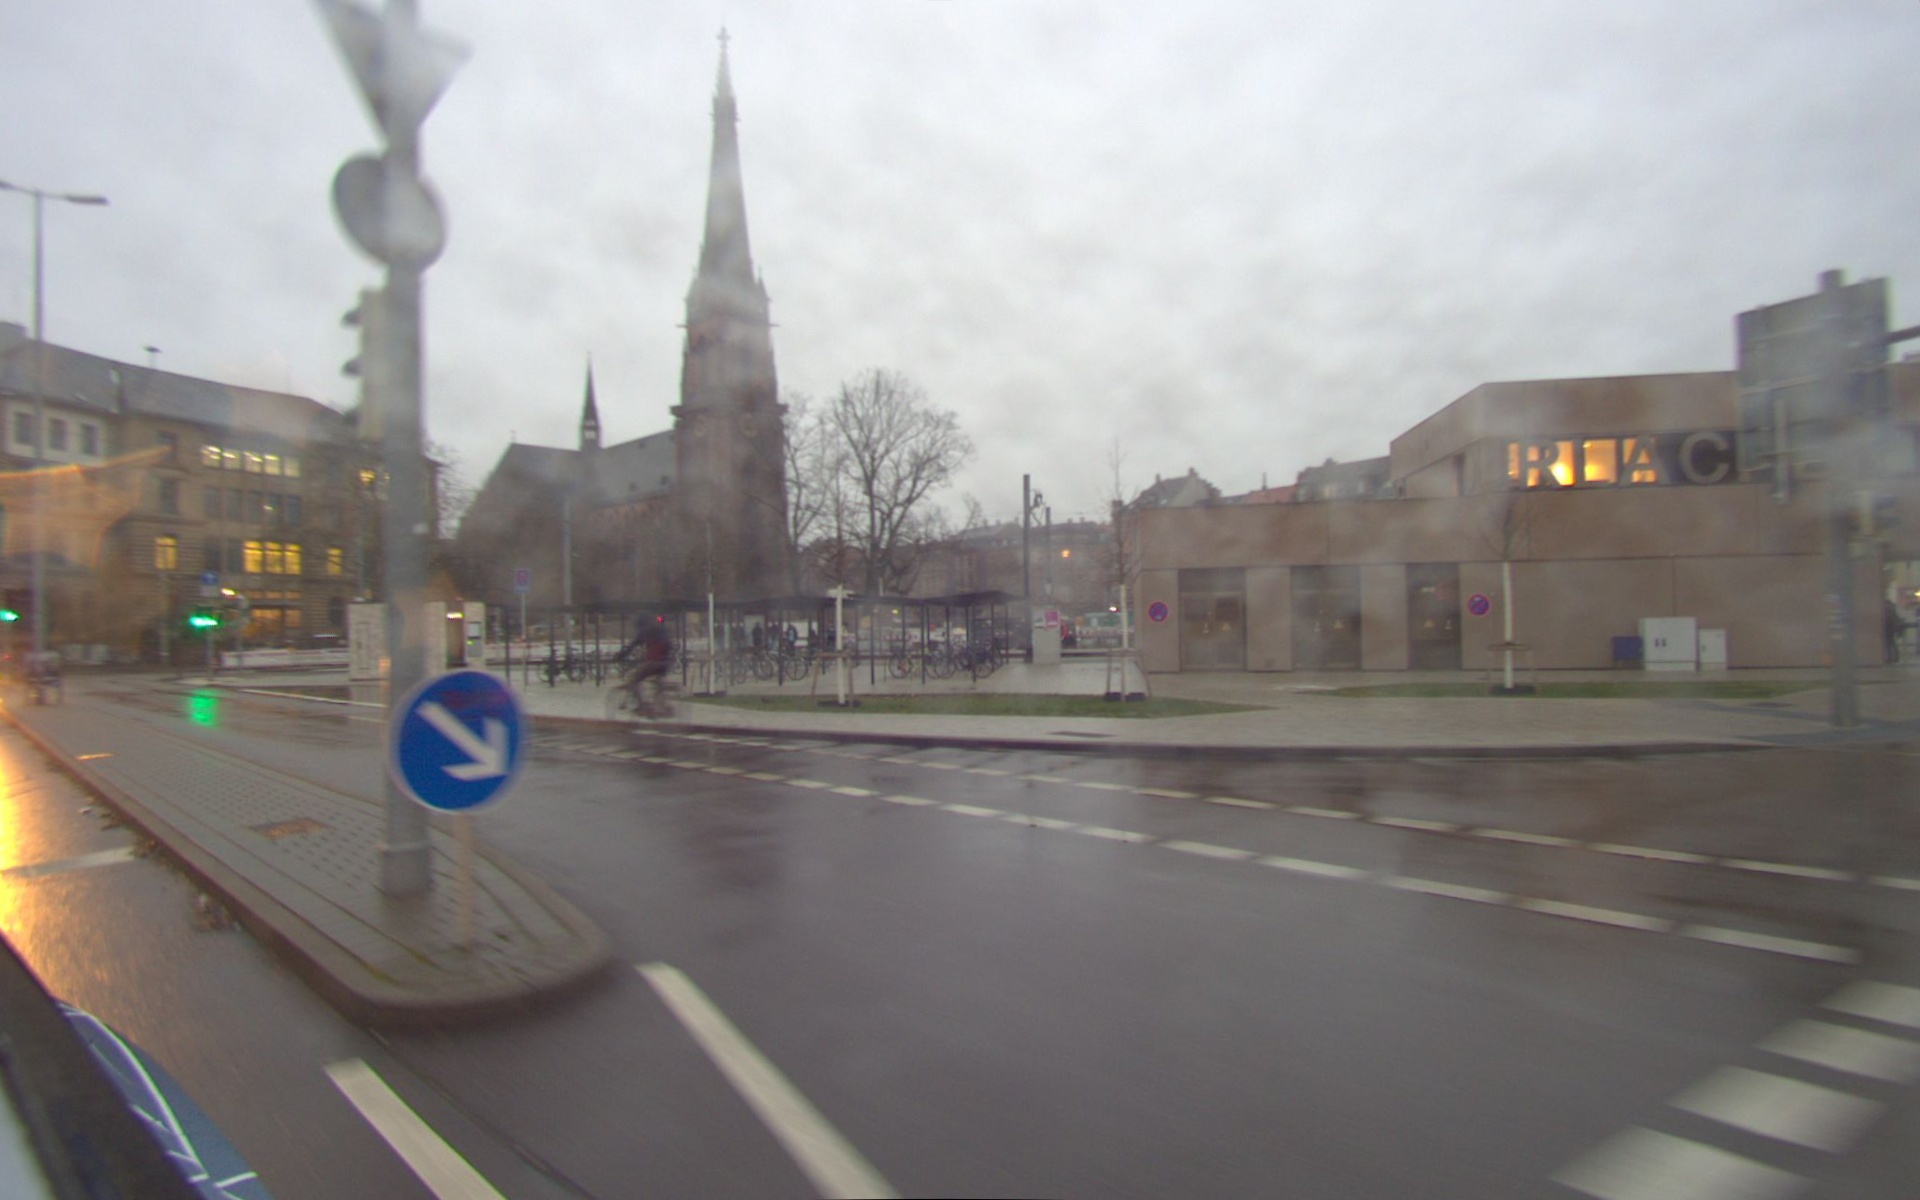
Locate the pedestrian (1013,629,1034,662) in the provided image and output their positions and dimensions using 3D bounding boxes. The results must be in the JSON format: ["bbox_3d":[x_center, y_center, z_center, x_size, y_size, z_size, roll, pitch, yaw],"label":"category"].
[{"bbox_3d":[3.648,2.588,58.118,0.809,1.844,0.934,-1,-1,44],"label":"pedestrian"}]

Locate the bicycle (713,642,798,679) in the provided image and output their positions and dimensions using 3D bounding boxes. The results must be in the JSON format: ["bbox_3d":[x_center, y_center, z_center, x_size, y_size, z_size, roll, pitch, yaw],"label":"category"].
[{"bbox_3d":[-6.849,2.026,33.912,2.715,1.113,0.646,-2,0,4],"label":"bicycle"}]

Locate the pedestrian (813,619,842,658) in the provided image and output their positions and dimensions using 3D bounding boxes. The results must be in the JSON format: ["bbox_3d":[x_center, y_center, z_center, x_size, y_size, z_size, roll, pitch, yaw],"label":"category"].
[{"bbox_3d":[-6.553,1.918,50.121,0.848,1.864,1.021,-3,0,44],"label":"pedestrian"}]

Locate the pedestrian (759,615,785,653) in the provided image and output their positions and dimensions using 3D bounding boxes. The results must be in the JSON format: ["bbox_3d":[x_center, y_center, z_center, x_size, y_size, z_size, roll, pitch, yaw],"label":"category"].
[{"bbox_3d":[-9.423,1.712,50.754,0.803,1.864,1.020,-4,-3,44],"label":"pedestrian"}]

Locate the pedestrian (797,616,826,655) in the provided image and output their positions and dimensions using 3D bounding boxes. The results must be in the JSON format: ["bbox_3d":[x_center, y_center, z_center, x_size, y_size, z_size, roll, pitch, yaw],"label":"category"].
[{"bbox_3d":[-7.450,1.785,50.771,0.848,1.864,1.021,-3,0,43],"label":"pedestrian"}]

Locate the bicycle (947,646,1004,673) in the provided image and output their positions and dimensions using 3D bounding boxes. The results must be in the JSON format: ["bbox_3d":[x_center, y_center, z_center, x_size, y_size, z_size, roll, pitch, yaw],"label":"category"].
[{"bbox_3d":[0.523,1.997,33.933,1.843,0.878,0.605,-2,-2,9],"label":"bicycle"}]

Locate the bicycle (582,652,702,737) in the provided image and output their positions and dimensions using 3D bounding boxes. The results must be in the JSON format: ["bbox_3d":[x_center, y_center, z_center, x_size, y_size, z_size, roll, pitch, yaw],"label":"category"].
[{"bbox_3d":[-4.698,1.362,14.909,1.867,1.185,0.617,-2,-4,32],"label":"bicycle"}]

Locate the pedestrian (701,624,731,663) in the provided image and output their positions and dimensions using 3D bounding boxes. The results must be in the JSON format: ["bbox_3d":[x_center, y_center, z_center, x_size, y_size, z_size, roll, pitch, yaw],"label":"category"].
[{"bbox_3d":[-12.295,2.172,50.933,0.848,1.863,1.035,-4,1,44],"label":"pedestrian"}]

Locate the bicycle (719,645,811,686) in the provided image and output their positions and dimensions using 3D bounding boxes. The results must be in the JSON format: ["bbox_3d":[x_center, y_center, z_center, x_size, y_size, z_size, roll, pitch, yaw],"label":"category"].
[{"bbox_3d":[-6.043,2.018,31.370,2.723,1.113,0.644,-3,0,13],"label":"bicycle"}]

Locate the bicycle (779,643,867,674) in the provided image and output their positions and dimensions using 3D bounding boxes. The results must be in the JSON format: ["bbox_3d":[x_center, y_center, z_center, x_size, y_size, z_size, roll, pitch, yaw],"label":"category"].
[{"bbox_3d":[-5.073,2.178,37.503,3.157,1.058,0.793,-2,-2,9],"label":"bicycle"}]

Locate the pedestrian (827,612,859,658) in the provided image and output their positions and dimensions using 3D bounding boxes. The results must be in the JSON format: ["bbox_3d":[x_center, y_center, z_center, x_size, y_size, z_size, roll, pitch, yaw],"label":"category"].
[{"bbox_3d":[-4.500,1.335,39.025,0.848,1.693,0.805,0,4,44],"label":"pedestrian"}]

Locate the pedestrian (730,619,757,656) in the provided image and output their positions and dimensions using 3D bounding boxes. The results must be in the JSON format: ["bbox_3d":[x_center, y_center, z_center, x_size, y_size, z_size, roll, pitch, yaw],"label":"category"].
[{"bbox_3d":[-11.061,1.921,51.738,0.848,1.864,1.020,-3,-3,44],"label":"pedestrian"}]

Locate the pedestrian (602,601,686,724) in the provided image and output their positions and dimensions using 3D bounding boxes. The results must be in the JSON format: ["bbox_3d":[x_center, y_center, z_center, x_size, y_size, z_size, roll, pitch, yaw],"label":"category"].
[{"bbox_3d":[-4.655,0.911,14.919,0.979,1.747,0.709,-3,-4,32],"label":"pedestrian"}]

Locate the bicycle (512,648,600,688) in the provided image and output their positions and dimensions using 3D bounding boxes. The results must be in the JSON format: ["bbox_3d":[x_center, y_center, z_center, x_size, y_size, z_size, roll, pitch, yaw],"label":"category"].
[{"bbox_3d":[-13.074,2.203,32.756,2.723,1.113,0.644,-3,0,13],"label":"bicycle"}]

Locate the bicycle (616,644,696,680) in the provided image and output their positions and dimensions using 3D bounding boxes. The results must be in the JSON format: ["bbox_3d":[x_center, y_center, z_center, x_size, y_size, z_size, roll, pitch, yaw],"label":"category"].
[{"bbox_3d":[-10.857,2.207,36.161,2.723,1.113,0.644,-3,0,13],"label":"bicycle"}]

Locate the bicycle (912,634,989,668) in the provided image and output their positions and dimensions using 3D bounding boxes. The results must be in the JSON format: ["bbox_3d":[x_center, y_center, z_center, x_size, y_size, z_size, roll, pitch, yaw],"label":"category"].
[{"bbox_3d":[-0.347,1.872,37.095,2.723,1.113,0.644,-3,0,13],"label":"bicycle"}]

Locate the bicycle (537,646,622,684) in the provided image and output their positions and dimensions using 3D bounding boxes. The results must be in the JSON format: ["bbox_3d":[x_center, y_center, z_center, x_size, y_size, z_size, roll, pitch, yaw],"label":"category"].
[{"bbox_3d":[-12.746,2.184,33.897,2.723,1.113,0.644,-3,0,13],"label":"bicycle"}]

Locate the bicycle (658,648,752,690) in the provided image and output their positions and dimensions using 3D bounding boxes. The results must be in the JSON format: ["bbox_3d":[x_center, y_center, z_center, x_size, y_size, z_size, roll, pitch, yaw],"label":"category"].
[{"bbox_3d":[-7.669,2.083,30.432,2.723,1.113,0.644,-3,0,13],"label":"bicycle"}]

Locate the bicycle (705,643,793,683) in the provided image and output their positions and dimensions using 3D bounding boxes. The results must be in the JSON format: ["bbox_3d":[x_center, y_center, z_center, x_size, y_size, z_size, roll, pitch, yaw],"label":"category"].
[{"bbox_3d":[-6.889,2.066,33.132,2.715,1.113,0.646,-3,0,3],"label":"bicycle"}]

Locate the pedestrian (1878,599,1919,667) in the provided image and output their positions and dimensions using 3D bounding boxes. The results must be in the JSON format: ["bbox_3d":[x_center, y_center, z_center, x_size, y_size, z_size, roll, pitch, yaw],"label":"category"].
[{"bbox_3d":[24.937,0.870,26.842,0.820,1.781,0.663,0,-3,-38],"label":"pedestrian"}]

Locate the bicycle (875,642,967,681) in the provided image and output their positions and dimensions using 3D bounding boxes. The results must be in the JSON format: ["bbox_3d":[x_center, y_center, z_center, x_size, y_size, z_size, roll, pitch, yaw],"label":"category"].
[{"bbox_3d":[-1.190,1.879,30.987,2.717,1.113,0.607,-2,0,6],"label":"bicycle"}]

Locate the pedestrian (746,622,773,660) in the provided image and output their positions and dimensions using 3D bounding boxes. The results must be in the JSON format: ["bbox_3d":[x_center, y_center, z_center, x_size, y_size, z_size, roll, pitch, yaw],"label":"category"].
[{"bbox_3d":[-10.166,2.082,51.360,0.848,1.864,1.020,-3,-3,44],"label":"pedestrian"}]

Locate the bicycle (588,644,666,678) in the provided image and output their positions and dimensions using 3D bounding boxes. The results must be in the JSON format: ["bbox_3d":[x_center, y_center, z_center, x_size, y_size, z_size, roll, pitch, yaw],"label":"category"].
[{"bbox_3d":[-12.405,2.265,37.693,2.720,1.113,0.645,-3,0,10],"label":"bicycle"}]

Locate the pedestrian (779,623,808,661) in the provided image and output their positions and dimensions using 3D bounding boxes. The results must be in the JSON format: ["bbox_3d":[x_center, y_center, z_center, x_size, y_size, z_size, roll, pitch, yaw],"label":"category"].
[{"bbox_3d":[-8.422,2.131,51.185,0.848,1.864,1.021,-3,0,44],"label":"pedestrian"}]
